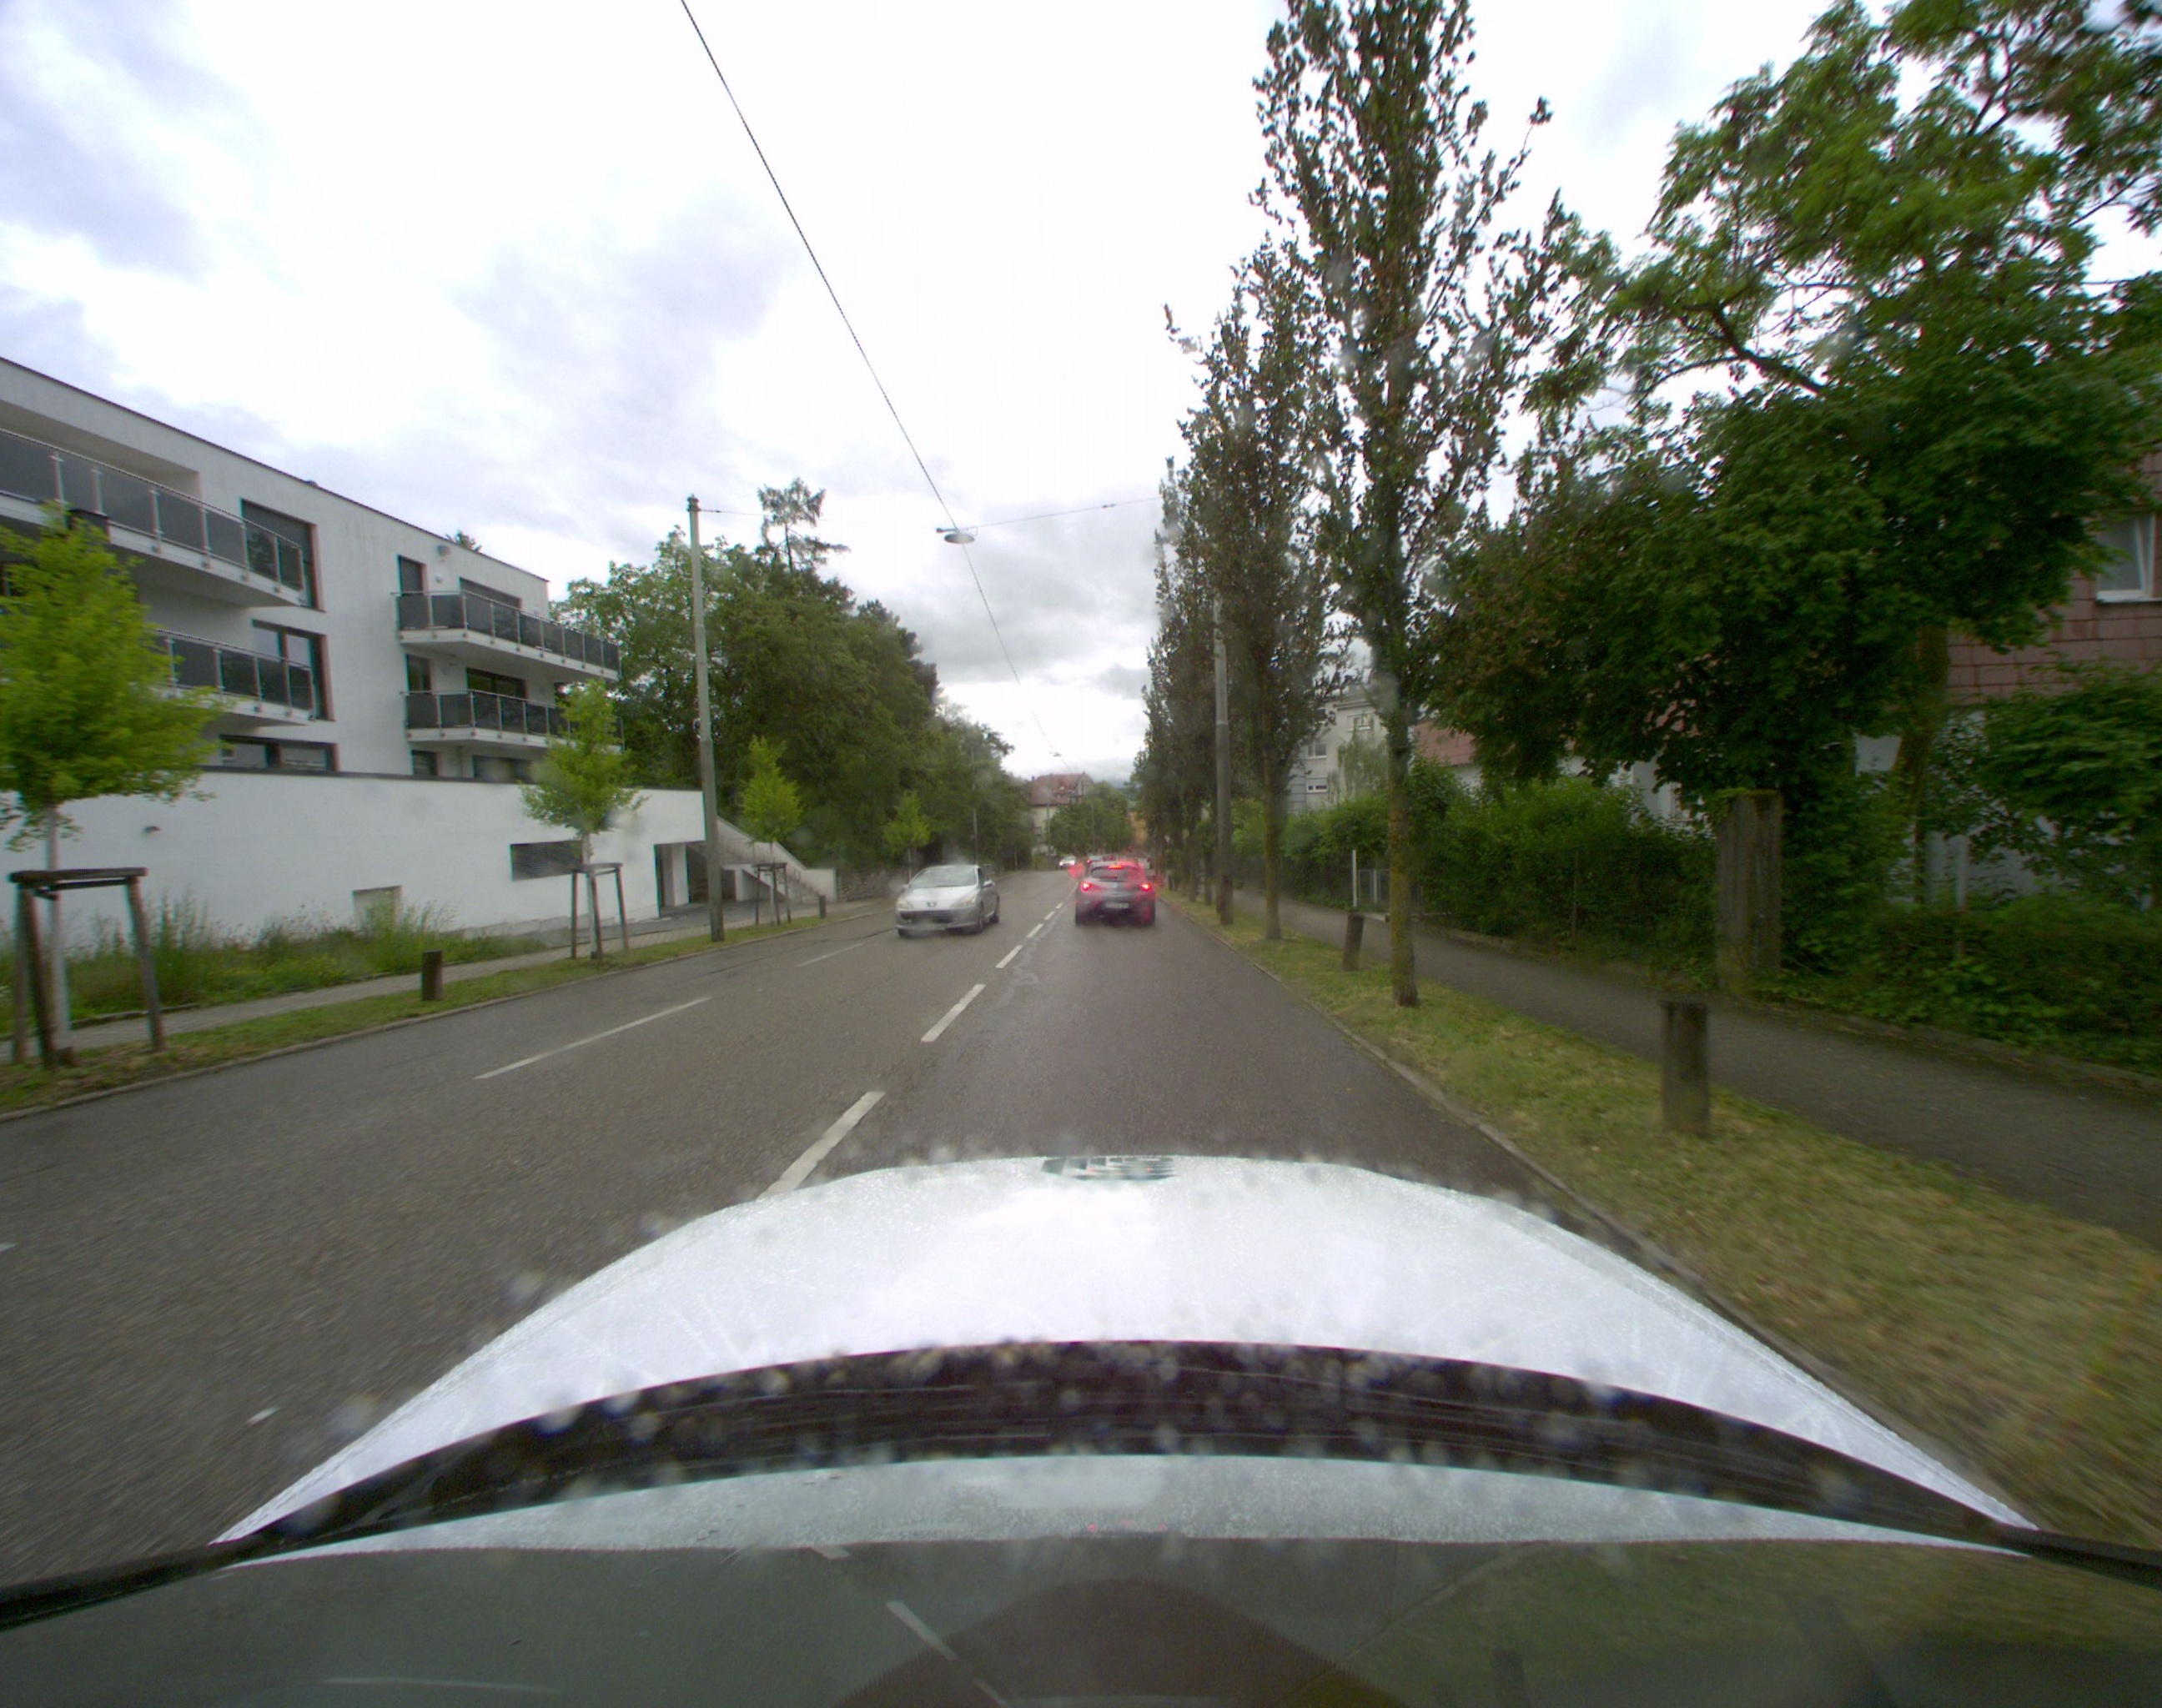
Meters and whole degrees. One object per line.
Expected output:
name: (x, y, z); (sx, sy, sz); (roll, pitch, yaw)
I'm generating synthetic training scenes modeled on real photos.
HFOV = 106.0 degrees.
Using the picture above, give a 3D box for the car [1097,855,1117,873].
car: (2.842, 1.092, 88.336); (1.759, 1.781, 3.985); (2, 1, 7)

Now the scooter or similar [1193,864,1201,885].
scooter or similar: (7.341, 1.285, 51.512); (0.341, 1.254, 1.267); (1, -1, 1)

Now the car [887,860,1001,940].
car: (-2.866, 0.932, 17.895); (1.756, 1.486, 3.999); (-2, -1, 0)

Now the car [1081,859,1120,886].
car: (1.049, 0.918, 41.956); (1.790, 1.323, 4.004); (0, 0, 4)

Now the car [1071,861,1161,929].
car: (0.825, 0.917, 19.770); (1.938, 1.432, 3.886); (1, -1, 2)

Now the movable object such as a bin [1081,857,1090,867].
movable object such as a bin: (0.681, 1.122, 116.797); (1.265, 1.387, 0.490); (0, 0, 6)

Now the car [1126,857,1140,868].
car: (7.840, 1.245, 122.614); (1.745, 1.651, 4.008); (2, 0, 7)

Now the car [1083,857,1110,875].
car: (1.389, 1.027, 71.838); (1.950, 1.472, 3.959); (2, 1, 7)

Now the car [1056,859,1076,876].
car: (-1.545, 1.390, 85.089); (1.757, 1.486, 3.805); (-3, 1, 4)

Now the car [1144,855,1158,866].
car: (13.698, 1.260, 160.085); (2.320, 2.036, 4.747); (2, 1, 9)
